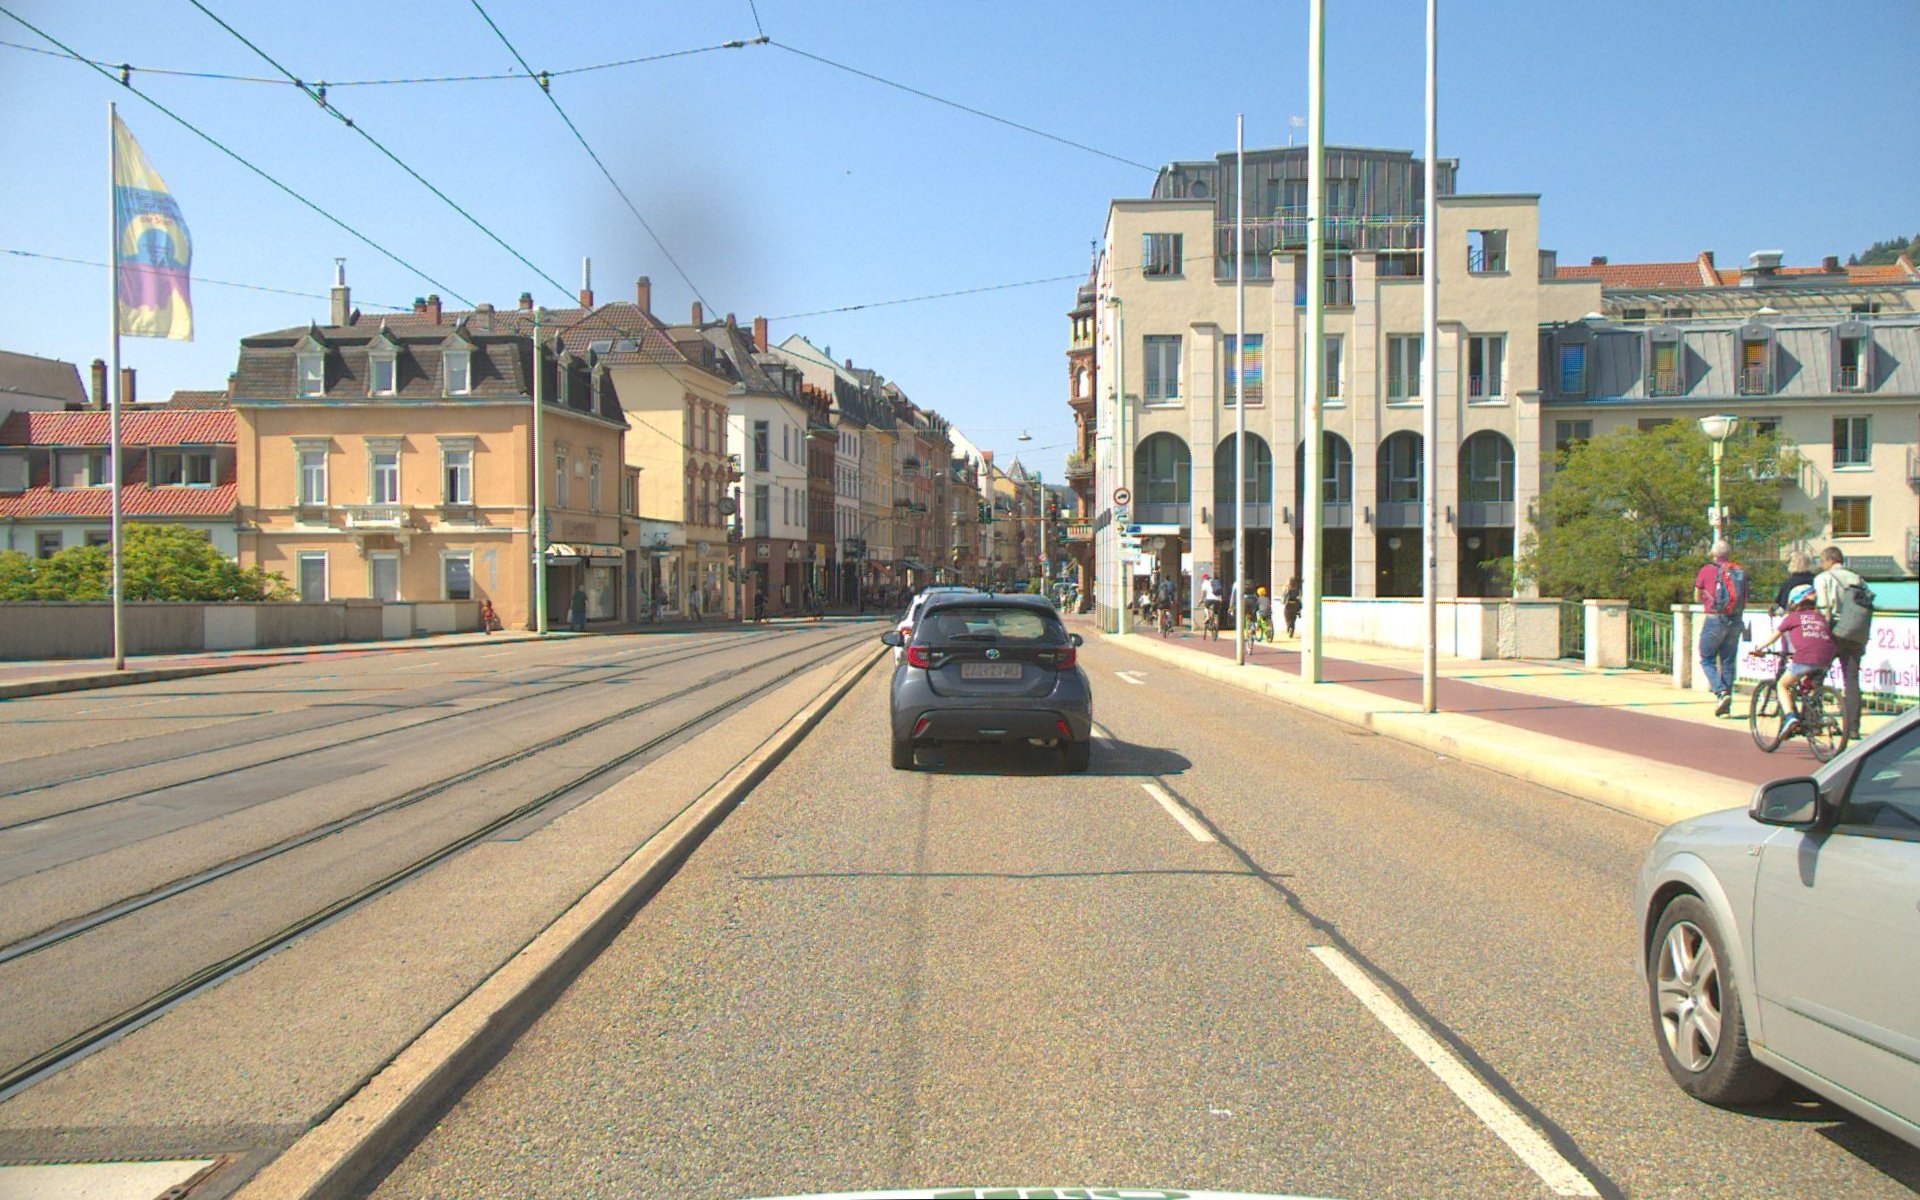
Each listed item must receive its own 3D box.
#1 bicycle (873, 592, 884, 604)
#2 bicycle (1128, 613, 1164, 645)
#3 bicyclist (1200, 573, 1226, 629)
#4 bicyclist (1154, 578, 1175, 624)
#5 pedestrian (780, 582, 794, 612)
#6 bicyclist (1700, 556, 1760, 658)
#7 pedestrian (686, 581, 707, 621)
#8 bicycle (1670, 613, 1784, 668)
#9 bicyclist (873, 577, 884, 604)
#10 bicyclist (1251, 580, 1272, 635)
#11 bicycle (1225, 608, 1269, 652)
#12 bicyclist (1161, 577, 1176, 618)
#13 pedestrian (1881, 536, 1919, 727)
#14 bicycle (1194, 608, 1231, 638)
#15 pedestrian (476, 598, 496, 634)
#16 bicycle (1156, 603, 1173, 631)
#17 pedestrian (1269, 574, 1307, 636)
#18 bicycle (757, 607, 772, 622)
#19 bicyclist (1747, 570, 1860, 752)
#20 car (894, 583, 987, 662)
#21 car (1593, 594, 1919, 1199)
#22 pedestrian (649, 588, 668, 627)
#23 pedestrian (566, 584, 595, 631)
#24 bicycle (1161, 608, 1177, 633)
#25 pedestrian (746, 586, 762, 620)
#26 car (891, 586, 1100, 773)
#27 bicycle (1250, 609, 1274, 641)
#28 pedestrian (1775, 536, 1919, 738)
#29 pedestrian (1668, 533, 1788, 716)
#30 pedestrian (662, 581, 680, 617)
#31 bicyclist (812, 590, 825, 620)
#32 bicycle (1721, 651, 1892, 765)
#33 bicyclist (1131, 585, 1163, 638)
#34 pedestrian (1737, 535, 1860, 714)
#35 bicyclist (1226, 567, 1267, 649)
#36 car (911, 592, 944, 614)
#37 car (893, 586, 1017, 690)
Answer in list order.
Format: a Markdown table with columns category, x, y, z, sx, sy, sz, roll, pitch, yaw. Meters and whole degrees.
| category | x | y | z | sx | sy | sz | roll | pitch | yaw |
| --- | --- | --- | --- | --- | --- | --- | --- | --- | --- |
| bicycle | -5.220 | -0.112 | 105.814 | 0.607 | 0.728 | 1.731 | 1 | 1 | 0 |
| bicycle | 9.352 | 1.429 | 83.341 | 1.091 | 1.444 | 3.004 | 4 | 0 | -6 |
| bicyclist | 6.845 | 0.028 | 44.774 | 0.480 | 1.492 | 0.437 | -2 | 0 | -39 |
| bicyclist | 6.068 | 0.030 | 49.145 | 0.527 | 1.339 | 0.672 | -2 | 0 | 2 |
| pedestrian | -10.400 | -0.169 | 99.423 | 0.721 | 1.797 | 0.787 | 0 | 1 | -1 |
| bicyclist | 13.468 | 0.112 | 28.933 | 0.903 | 1.725 | 1.142 | 1 | 0 | 26 |
| pedestrian | -12.269 | 0.043 | 77.101 | 0.721 | 1.796 | 0.787 | 4 | 0 | 0 |
| bicycle | 13.416 | 0.695 | 28.989 | 1.785 | 0.898 | 0.800 | 1 | 0 | 24 |
| bicyclist | -5.203 | -0.627 | 105.800 | 0.614 | 1.679 | 0.622 | 1 | 1 | 0 |
| bicyclist | 7.732 | 0.187 | 42.408 | 0.413 | 1.407 | 0.443 | -2 | 0 | -1 |
| bicycle | 6.151 | 0.630 | 35.522 | 0.689 | 0.898 | 1.525 | -1 | 0 | 0 |
| bicyclist | 6.641 | -0.073 | 52.708 | 0.413 | 1.278 | 0.443 | -2 | 0 | 2 |
| pedestrian | 9.277 | 0.286 | 15.459 | 0.724 | 1.777 | 1.015 | -2 | 0 | -1 |
| bicycle | 6.845 | 0.620 | 44.789 | 0.414 | 0.779 | 0.948 | -2 | 0 | -39 |
| pedestrian | -15.742 | 0.542 | 54.977 | 0.403 | 1.166 | 0.545 | 4 | 0 | 5 |
| bicycle | 6.080 | 0.503 | 49.204 | 0.407 | 0.779 | 1.206 | -2 | 0 | 3 |
| pedestrian | 8.978 | 0.128 | 45.310 | 0.724 | 1.642 | 1.015 | 4 | 0 | -1 |
| bicycle | -10.426 | 0.756 | 88.121 | 0.607 | 0.728 | 1.771 | 1 | 1 | 0 |
| bicyclist | 6.768 | 0.474 | 13.296 | 0.523 | 1.407 | 0.669 | -2 | 0 | -1 |
| car | -0.418 | 0.442 | 35.358 | 1.858 | 1.557 | 3.999 | 1 | 0 | -1 |
| car | 3.058 | 0.754 | 3.560 | 1.671 | 1.491 | 4.325 | 1 | 0 | -1 |
| pedestrian | -13.166 | 0.334 | 72.284 | 0.636 | 1.629 | 0.566 | 4 | 2 | 0 |
| pedestrian | -13.872 | 0.271 | 60.458 | 0.746 | 1.682 | 0.712 | 4 | 0 | 6 |
| bicycle | 6.661 | 0.645 | 52.670 | 0.407 | 0.779 | 0.962 | -2 | 0 | 3 |
| pedestrian | -10.963 | 0.166 | 87.961 | 0.721 | 1.797 | 0.787 | 0 | 1 | 0 |
| car | 0.268 | 0.638 | 15.352 | 1.685 | 1.499 | 3.657 | 1 | 0 | -1 |
| bicycle | 7.749 | 0.634 | 42.406 | 0.408 | 0.779 | 0.962 | -2 | 0 | 0 |
| pedestrian | 8.067 | 0.320 | 15.029 | 0.739 | 1.748 | 1.073 | -2 | 0 | -1 |
| pedestrian | 8.010 | 0.248 | 17.291 | 0.724 | 1.833 | 1.015 | -2 | 0 | -1 |
| pedestrian | -13.599 | -0.050 | 77.887 | 0.636 | 1.629 | 0.566 | 4 | 2 | 0 |
| bicyclist | -7.914 | 0.275 | 92.336 | 0.614 | 1.679 | 0.622 | 1 | 1 | 0 |
| bicycle | 6.779 | 0.843 | 13.329 | 0.503 | 0.779 | 1.660 | -2 | 0 | 0 |
| bicyclist | 9.386 | 0.583 | 83.104 | 1.205 | 2.572 | 1.103 | 4 | 0 | -7 |
| pedestrian | 8.823 | 0.251 | 17.442 | 0.724 | 1.808 | 1.015 | -2 | 0 | -1 |
| bicyclist | 6.138 | 0.175 | 35.499 | 0.687 | 1.725 | 0.924 | -1 | 0 | 0 |
| car | -2.203 | 0.183 | 113.679 | 1.694 | 1.486 | 4.377 | 0 | 0 | 7 |
| car | -0.100 | 0.568 | 27.174 | 1.858 | 1.557 | 3.999 | 1 | 0 | -1 |
